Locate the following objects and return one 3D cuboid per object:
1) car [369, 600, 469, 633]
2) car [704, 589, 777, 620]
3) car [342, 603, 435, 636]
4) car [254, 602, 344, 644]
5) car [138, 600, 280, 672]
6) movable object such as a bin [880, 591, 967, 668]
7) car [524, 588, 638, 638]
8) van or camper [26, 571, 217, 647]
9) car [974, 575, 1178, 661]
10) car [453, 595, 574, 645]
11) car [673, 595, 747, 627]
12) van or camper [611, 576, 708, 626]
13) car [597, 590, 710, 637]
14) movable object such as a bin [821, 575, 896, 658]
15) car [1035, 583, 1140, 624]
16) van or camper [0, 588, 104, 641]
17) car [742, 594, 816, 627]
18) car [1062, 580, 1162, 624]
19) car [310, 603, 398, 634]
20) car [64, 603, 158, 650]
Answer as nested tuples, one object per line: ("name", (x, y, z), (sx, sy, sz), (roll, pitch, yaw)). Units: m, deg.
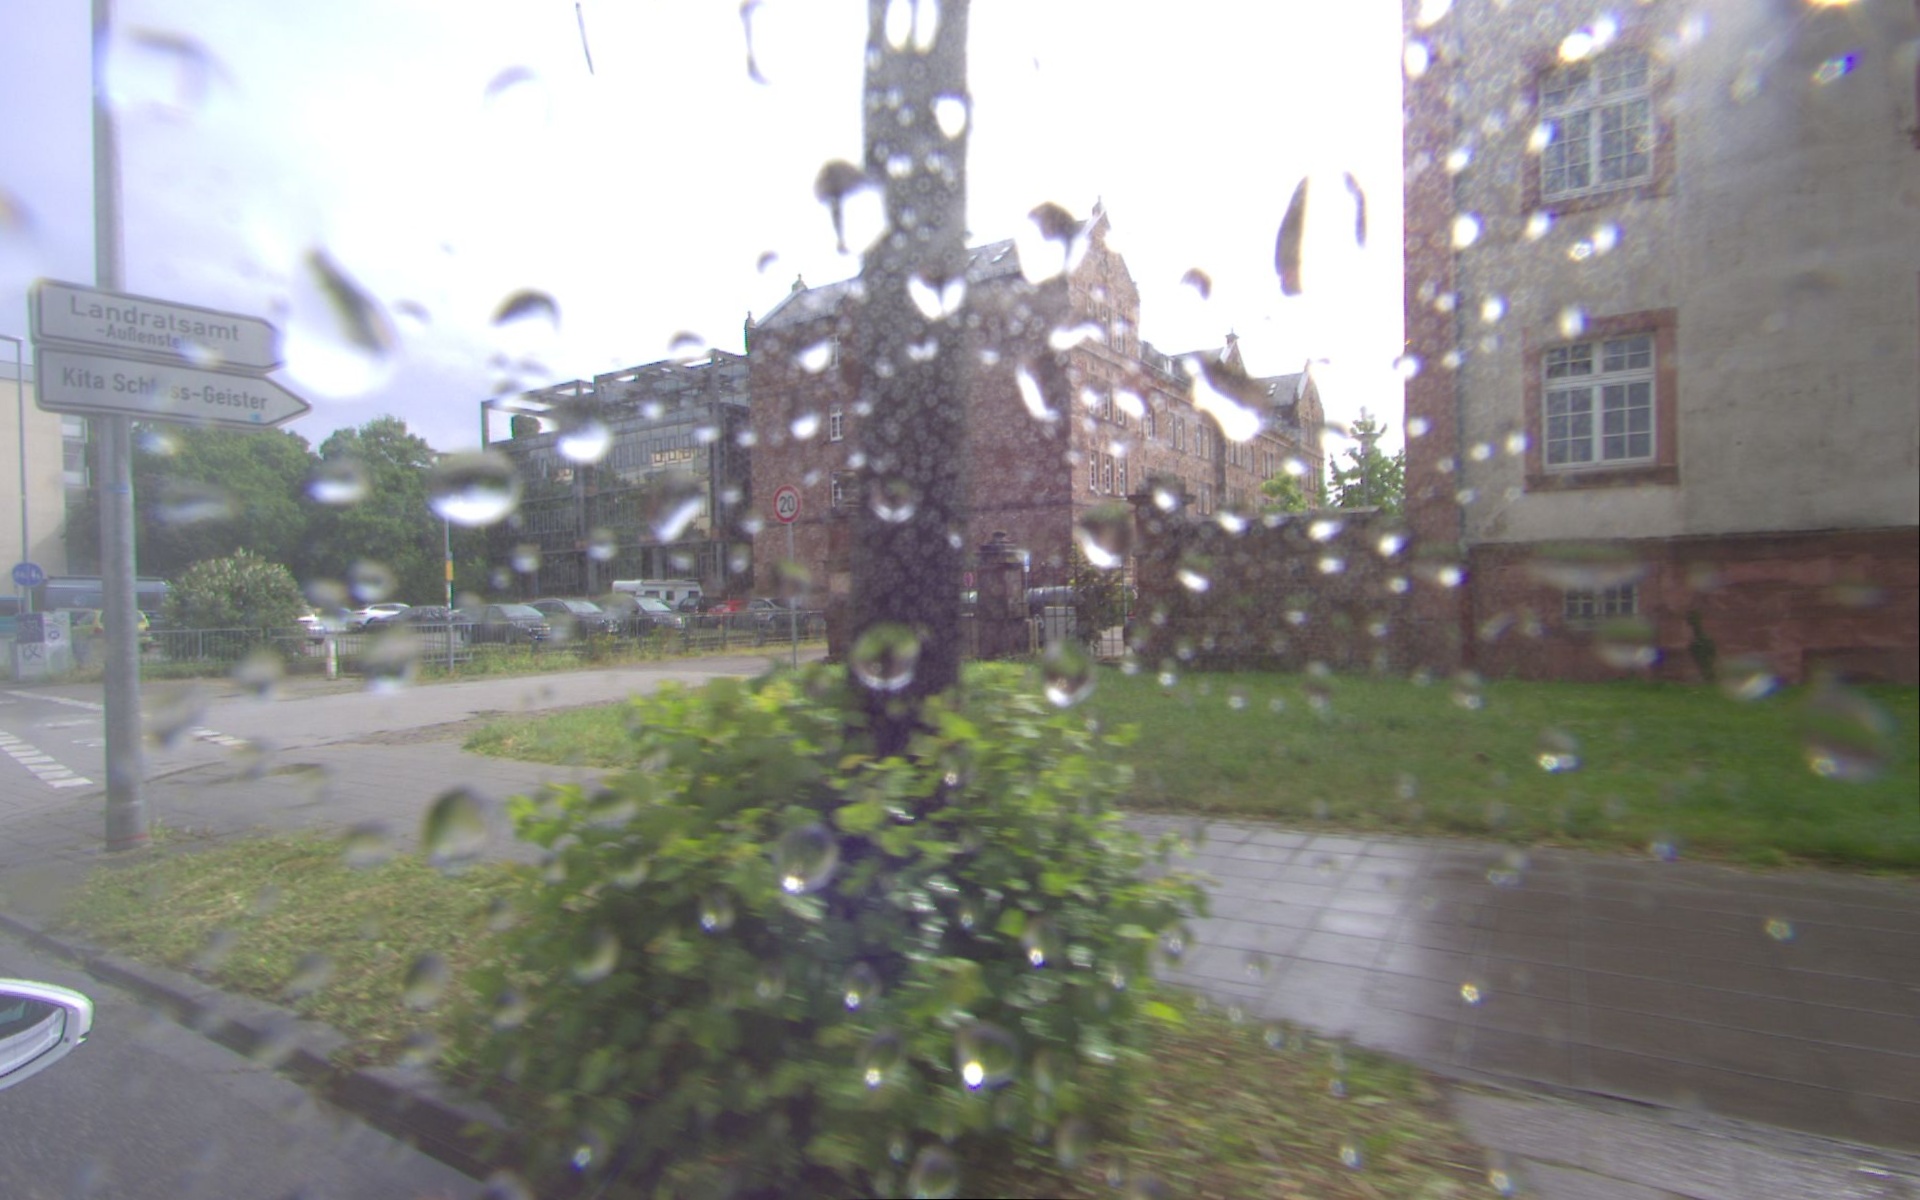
("car", (-26.281, 0.784, 48.785), (1.649, 1.485, 3.963), (-1, 1, 33))
("car", (-11.498, 0.286, 52.547), (1.649, 1.505, 3.659), (-1, -2, 33))
("car", (-28.431, 0.940, 49.862), (1.617, 1.506, 3.654), (-1, 1, 35))
("car", (-25.324, 0.877, 38.336), (3.669, 1.506, 1.643), (-1, 1, 35))
("car", (-20.447, 0.949, 27.233), (4.180, 1.773, 1.798), (-1, 1, 34))
("movable object such as a bin", (-0.751, 0.588, 20.586), (1.371, 1.477, 1.103), (-1, 2, 33))
("car", (-13.774, 0.467, 36.268), (4.368, 1.701, 1.845), (-1, 1, 38))
("van or camper", (-30.862, 0.319, 37.031), (2.145, 2.588, 4.986), (-2, -1, 33))
("car", (2.537, 0.393, 22.258), (4.185, 1.745, 1.705), (-1, 0, 34))
("car", (-15.101, 0.656, 33.760), (4.367, 1.547, 1.822), (-1, 1, 37))
("car", (-13.430, 0.584, 53.926), (1.649, 1.598, 3.656), (-1, 1, 33))
("van or camper", (-16.273, 0.100, 54.408), (2.226, 2.518, 4.779), (-2, -2, 31))
("car", (-11.954, 0.533, 38.972), (4.363, 1.701, 1.847), (-1, 1, 34))
("movable object such as a bin", (-1.867, 0.297, 18.454), (1.081, 1.477, 0.797), (0, 2, 33))
("car", (5.025, 0.185, 39.626), (3.756, 1.471, 1.750), (-2, -2, 35))
("van or camper", (-39.539, 0.614, 42.275), (2.291, 2.160, 4.744), (0, 0, 35))
("car", (-9.218, 0.533, 51.295), (1.649, 1.545, 3.656), (-1, 1, 33))
("car", (6.346, 0.127, 41.959), (3.756, 1.713, 1.750), (-2, -2, 35))
("car", (-32.339, 0.958, 53.524), (1.617, 1.506, 3.654), (-1, 1, 35))
("car", (-28.657, 0.882, 33.787), (3.371, 1.468, 1.605), (-1, 1, 35))
